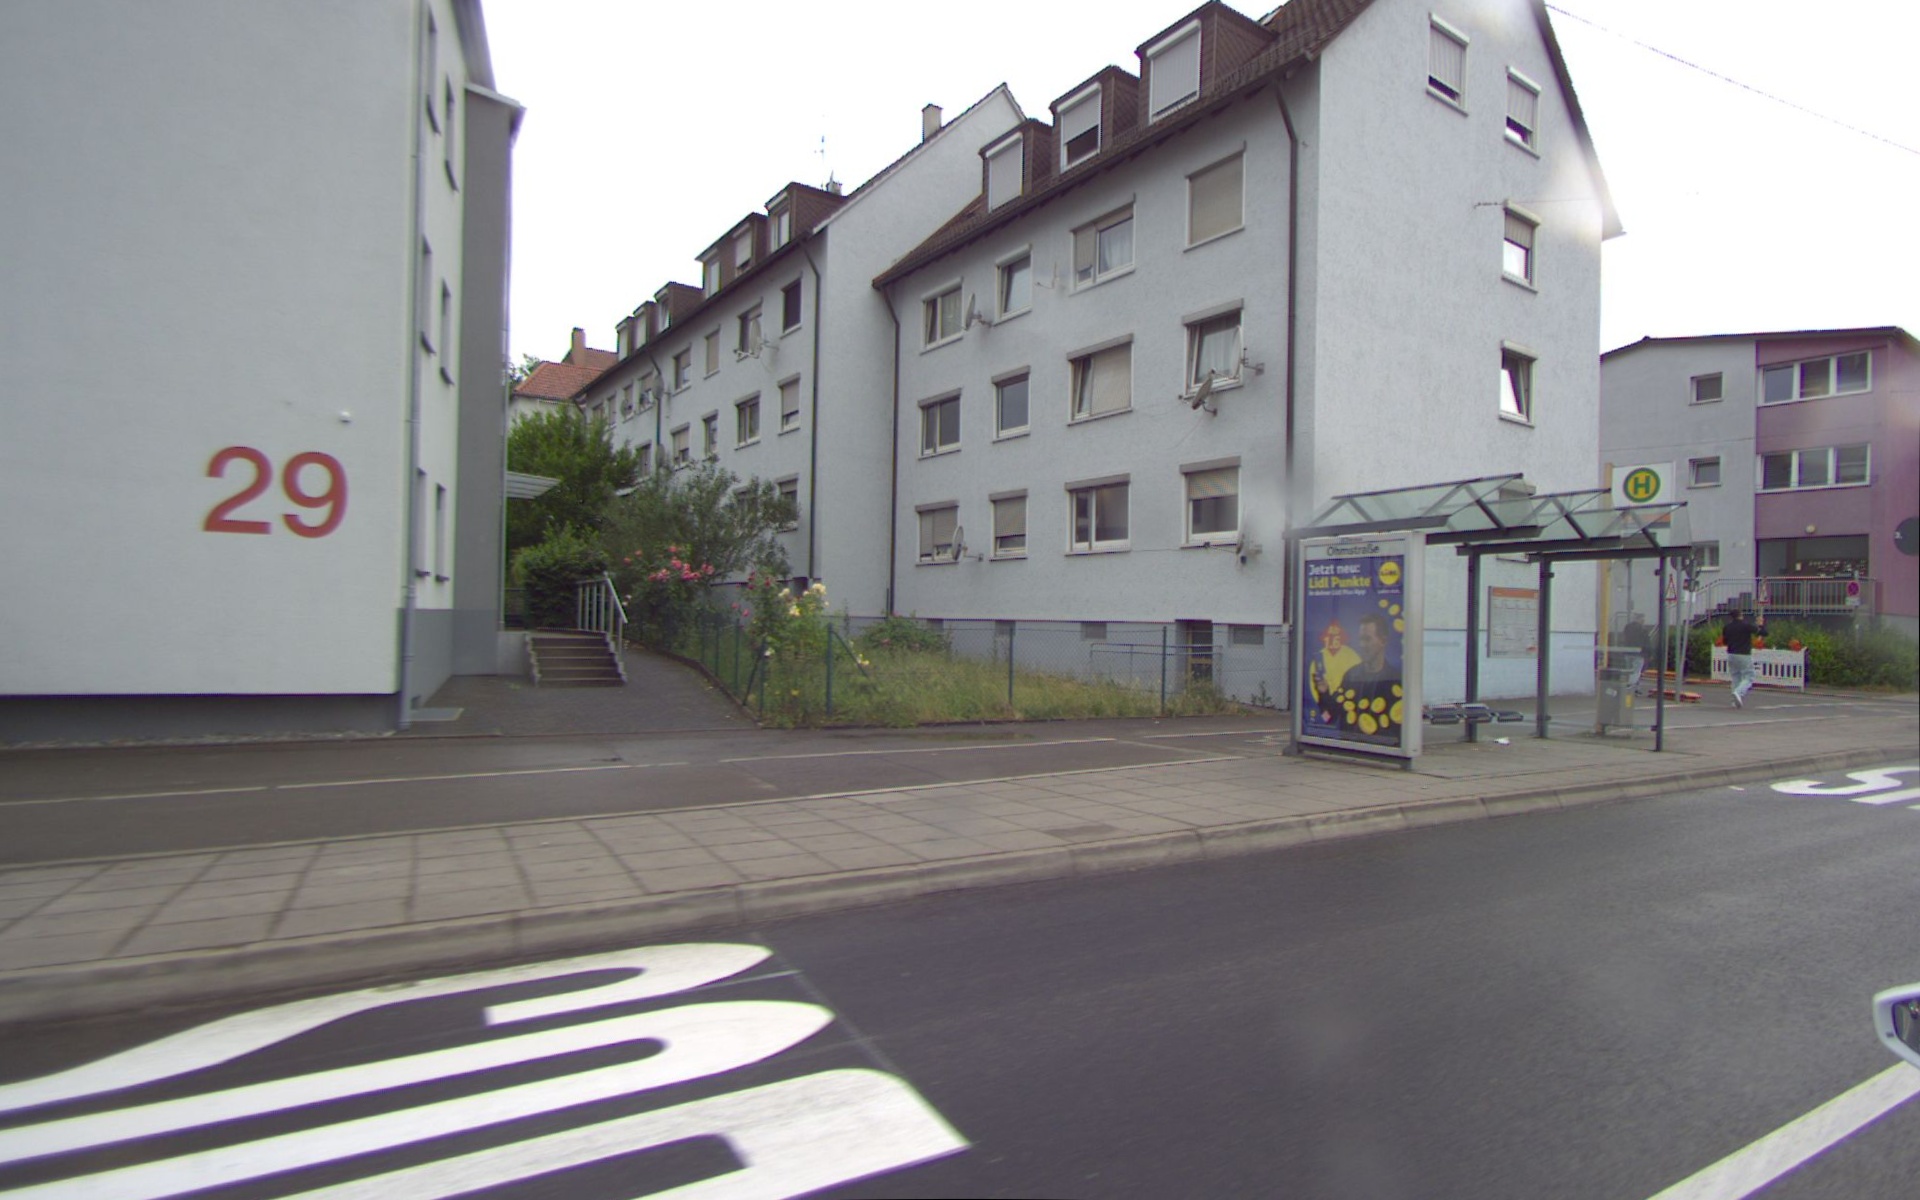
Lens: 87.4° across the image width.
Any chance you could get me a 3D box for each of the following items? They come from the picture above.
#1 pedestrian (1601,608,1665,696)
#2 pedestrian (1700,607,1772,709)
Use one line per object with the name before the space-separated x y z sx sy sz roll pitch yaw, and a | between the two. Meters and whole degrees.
pedestrian | 14.654 1.108 21.878 1.105 1.846 0.800 1 0 -35
pedestrian | 14.991 1.090 19.404 1.034 1.907 0.856 1 -1 -36
